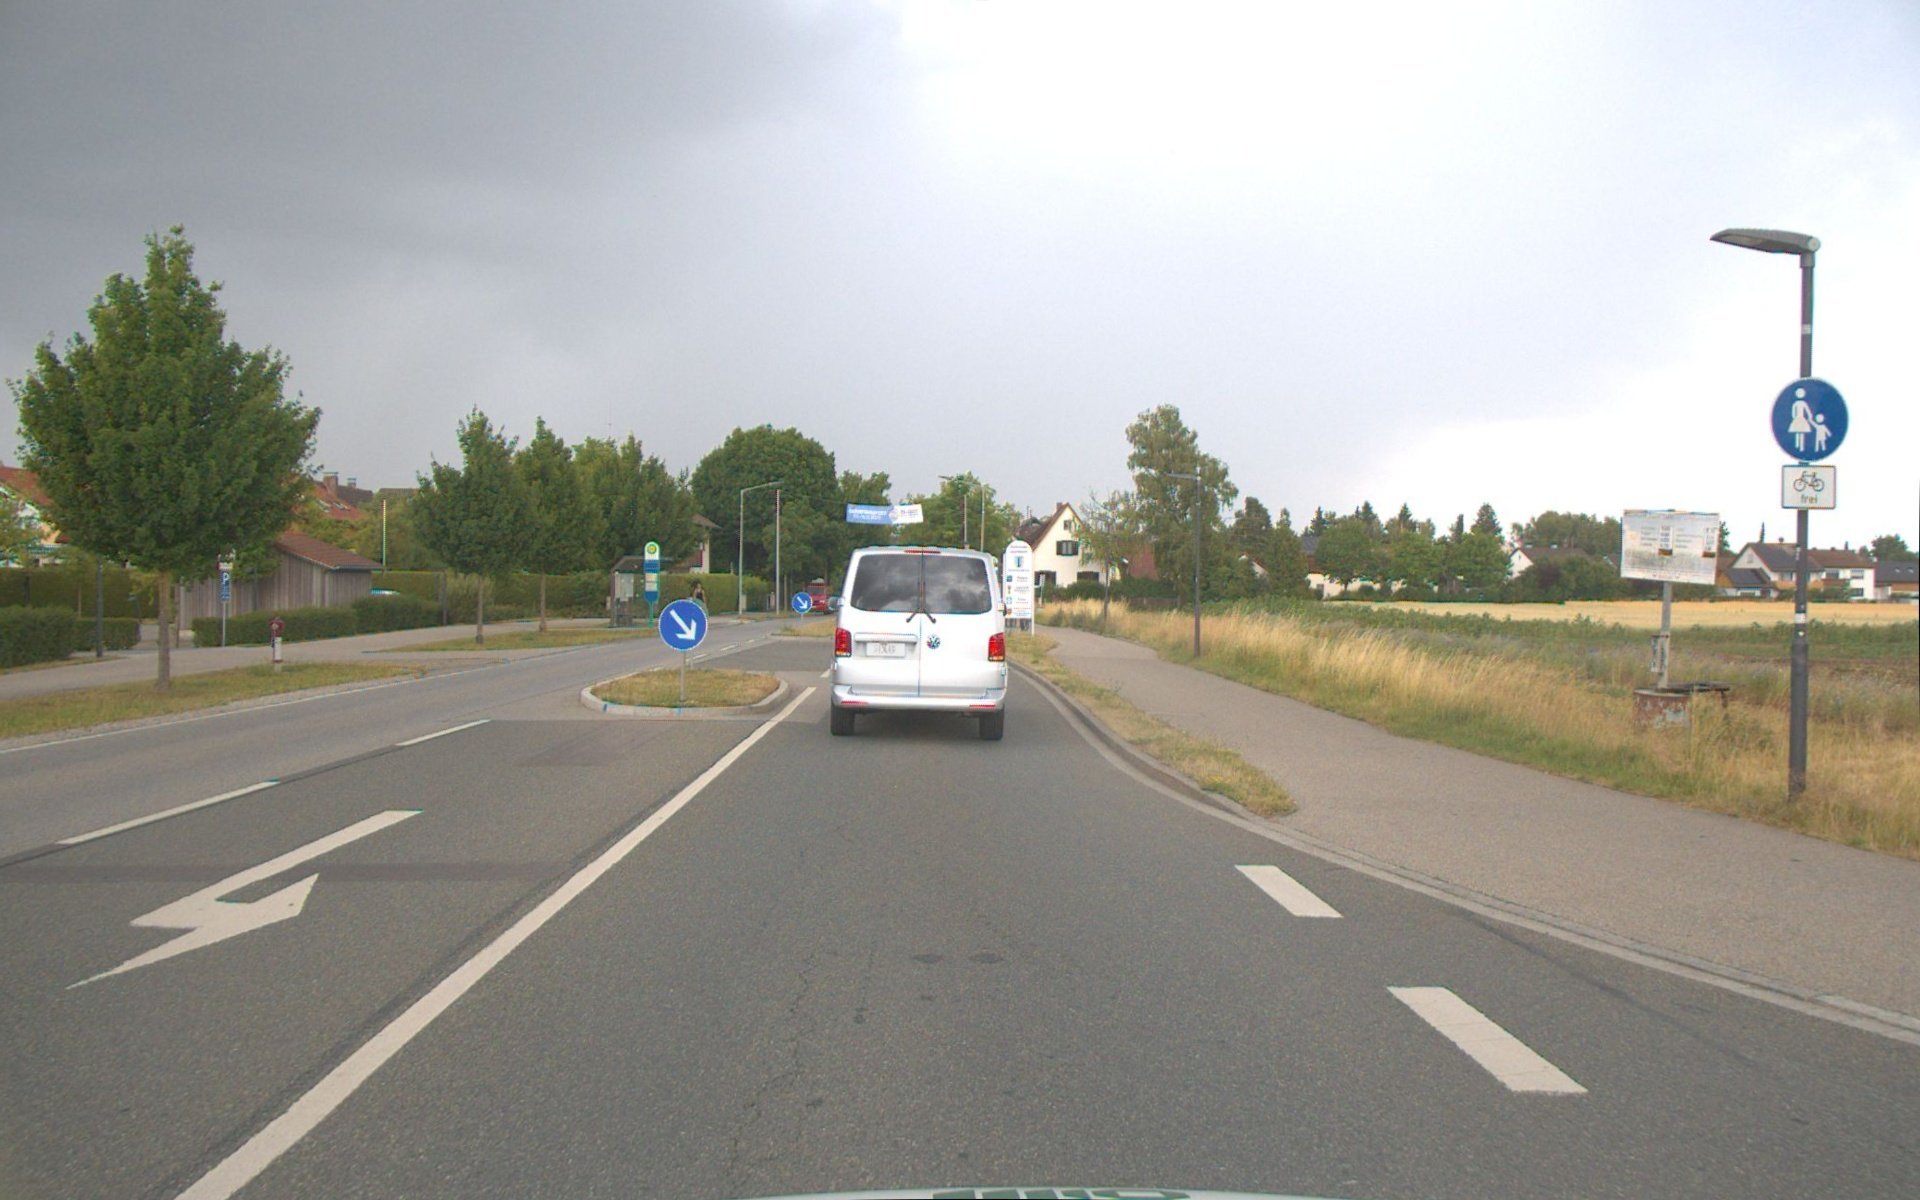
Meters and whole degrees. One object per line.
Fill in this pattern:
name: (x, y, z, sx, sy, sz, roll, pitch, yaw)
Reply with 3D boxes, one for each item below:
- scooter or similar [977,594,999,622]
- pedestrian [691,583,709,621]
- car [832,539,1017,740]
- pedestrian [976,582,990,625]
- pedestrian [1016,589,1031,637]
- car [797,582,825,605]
scooter or similar: (1.154, 0.313, 67.297, 0.831, 1.123, 1.094, -1, 1, -1)
pedestrian: (-10.880, 0.076, 69.169, 0.611, 1.551, 0.679, -1, 0, -2)
car: (-0.448, 0.366, 18.355, 1.789, 1.947, 3.998, 1, 1, -3)
pedestrian: (0.939, 0.140, 67.422, 0.475, 1.762, 0.642, -1, 0, -2)
pedestrian: (2.342, 0.482, 60.959, 0.475, 1.762, 0.642, -1, 0, 0)
car: (-9.864, -0.471, 109.530, 1.620, 1.454, 3.601, -1, 1, -2)
